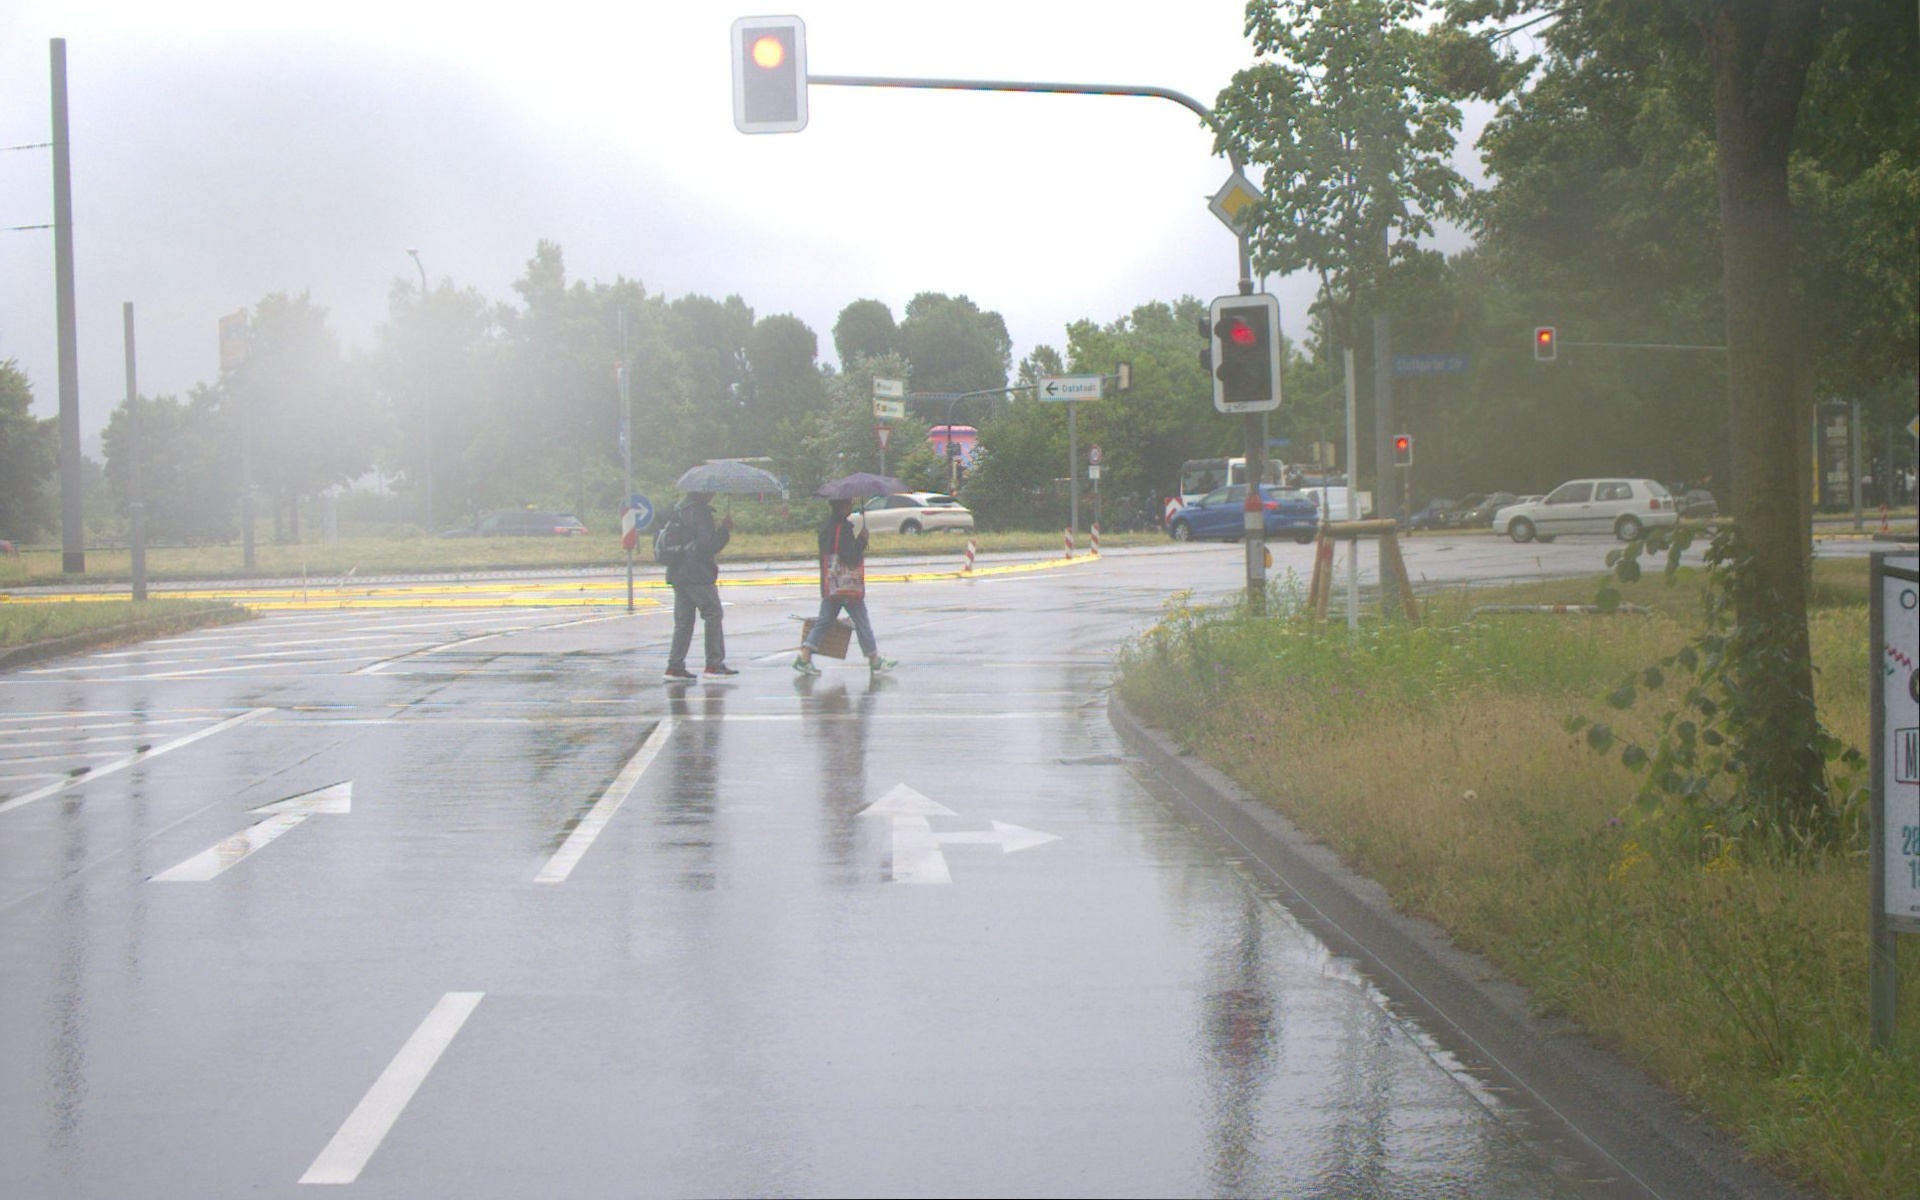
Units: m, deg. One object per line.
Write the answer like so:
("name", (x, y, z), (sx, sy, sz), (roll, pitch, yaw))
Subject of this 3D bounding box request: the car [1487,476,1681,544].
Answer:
("car", (13.920, -2.008, 76.736), (3.979, 1.449, 1.621), (0, 2, 25))

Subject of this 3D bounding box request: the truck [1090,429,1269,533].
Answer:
("truck", (6.168, -3.242, 95.151), (2.464, 2.677, 8.050), (1, 1, 22))

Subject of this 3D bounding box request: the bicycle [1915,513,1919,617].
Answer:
("bicycle", (7.945, -0.242, 25.441), (0.379, 0.784, 1.859), (1, 1, -35))

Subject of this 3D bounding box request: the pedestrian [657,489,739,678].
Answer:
("pedestrian", (-2.135, -0.144, 28.080), (0.621, 1.517, 0.741), (1, 2, -2))

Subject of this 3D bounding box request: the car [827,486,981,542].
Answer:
("car", (-1.527, -2.311, 92.703), (4.109, 1.449, 1.620), (1, 2, 41))

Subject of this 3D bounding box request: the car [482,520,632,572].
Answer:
("car", (-11.722, -1.575, 100.077), (3.977, 1.449, 1.623), (-1, 2, 14))

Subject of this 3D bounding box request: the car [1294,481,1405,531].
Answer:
("car", (13.563, -3.265, 119.595), (1.800, 1.656, 4.125), (2, 1, 40))

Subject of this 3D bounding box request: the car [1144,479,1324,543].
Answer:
("car", (6.477, -2.096, 81.380), (3.983, 1.449, 1.620), (0, 2, 36))

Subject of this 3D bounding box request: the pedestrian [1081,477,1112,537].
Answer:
("pedestrian", (2.992, -2.045, 75.357), (0.453, 1.300, 0.485), (0, 2, 38))

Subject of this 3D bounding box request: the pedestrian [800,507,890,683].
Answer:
("pedestrian", (-0.975, -0.045, 29.130), (0.680, 1.456, 0.573), (-2, 1, -5))
